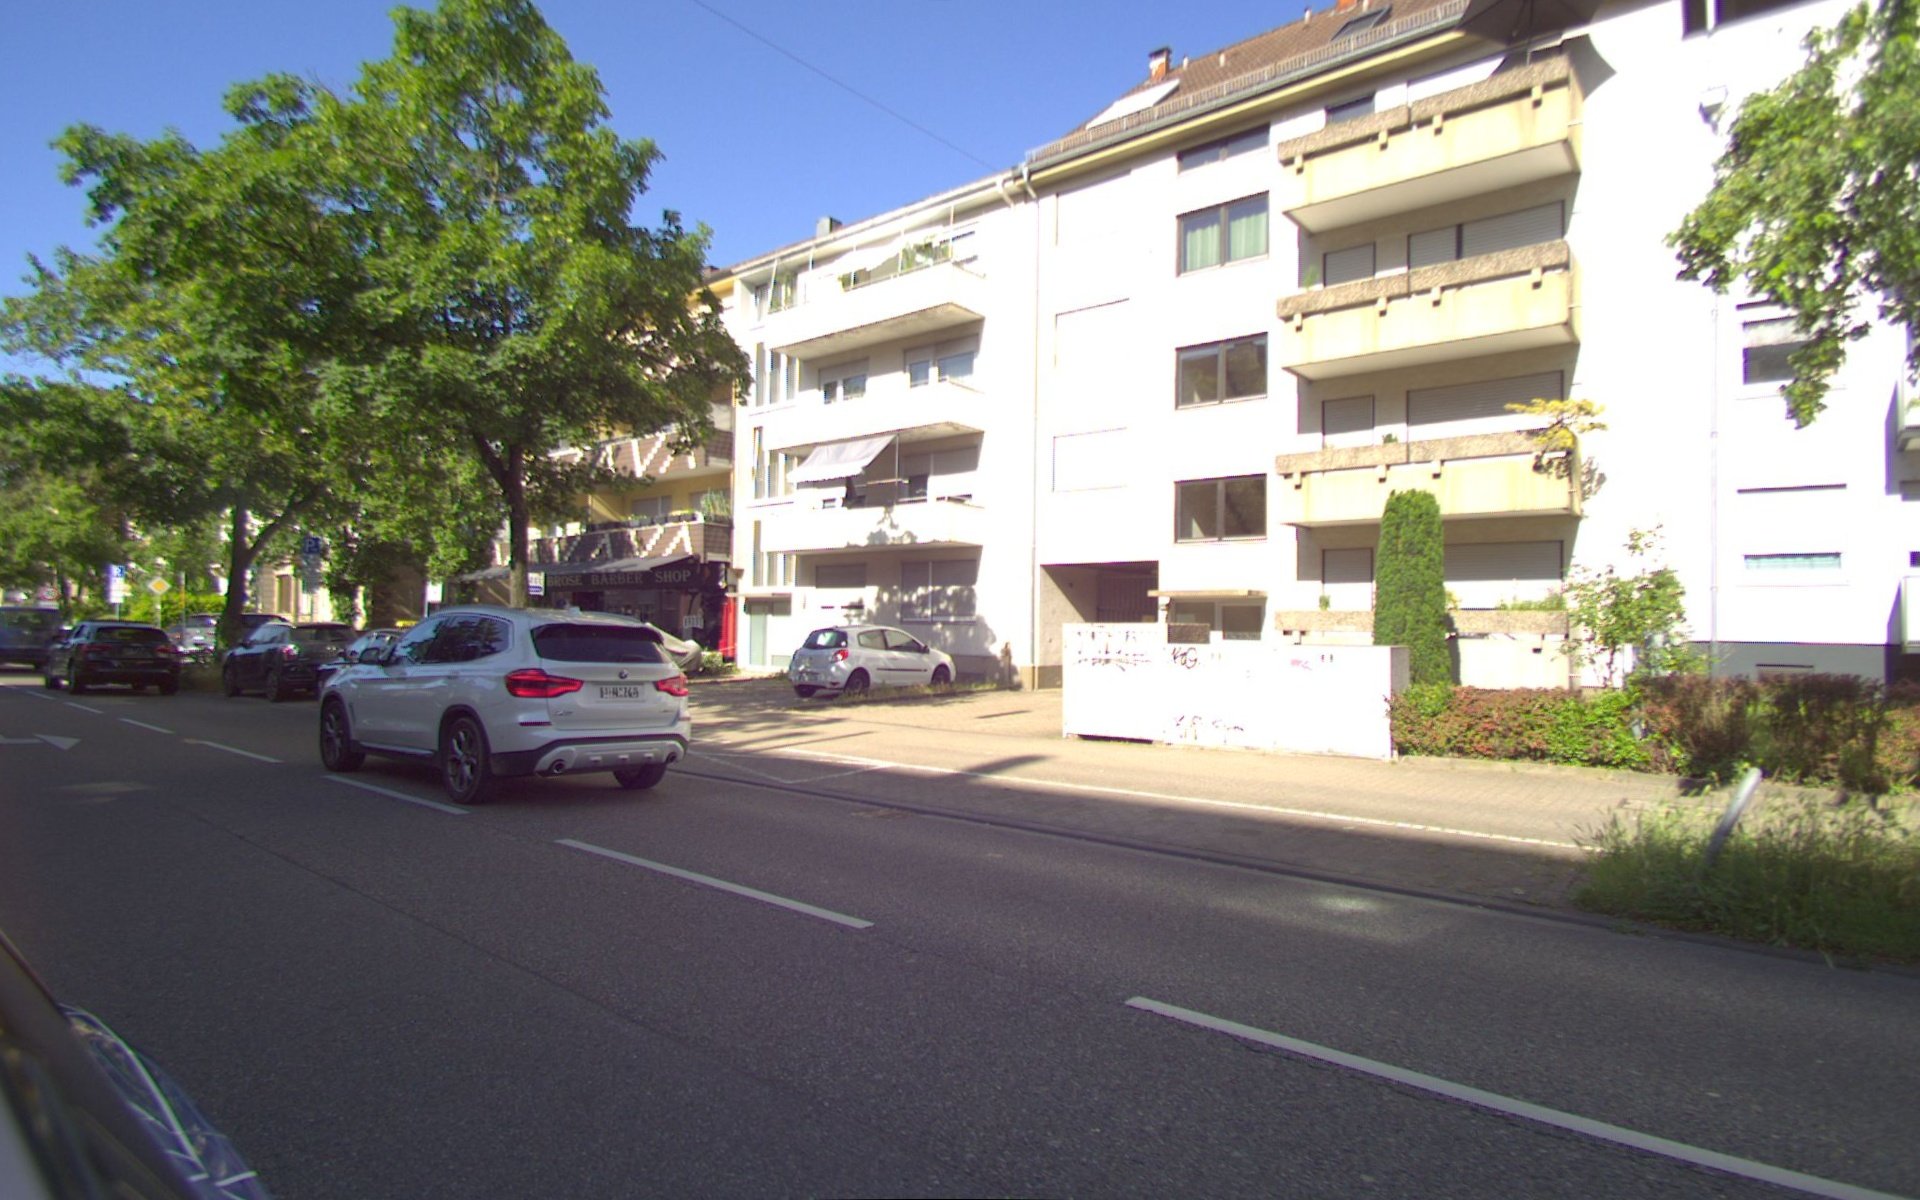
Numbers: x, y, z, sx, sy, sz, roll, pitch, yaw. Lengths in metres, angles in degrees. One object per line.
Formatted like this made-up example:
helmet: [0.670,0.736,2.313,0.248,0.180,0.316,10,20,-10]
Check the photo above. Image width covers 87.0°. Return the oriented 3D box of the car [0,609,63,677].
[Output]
car: [-28.996,1.294,30.773,4.708,1.925,1.785,-1,-5,40]

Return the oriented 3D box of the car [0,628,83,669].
car: [-34.160,1.740,37.455,4.798,1.400,1.815,-1,-2,40]

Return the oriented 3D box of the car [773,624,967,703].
car: [-1.817,1.268,21.429,1.879,1.498,3.947,-2,-2,39]

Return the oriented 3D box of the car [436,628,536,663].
car: [-21.703,2.076,46.431,1.645,1.499,3.744,1,-2,40]

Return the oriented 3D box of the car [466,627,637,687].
car: [-10.981,1.480,27.332,3.938,1.472,1.735,1,-2,-41]

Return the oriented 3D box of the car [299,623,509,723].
car: [-9.942,1.188,17.943,4.676,1.547,1.704,-1,-1,40]

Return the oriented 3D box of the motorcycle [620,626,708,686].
motorcycle: [-7.827,1.453,26.814,2.124,1.497,0.782,1,-2,-42]

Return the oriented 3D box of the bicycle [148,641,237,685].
bicycle: [-21.248,1.735,28.059,1.903,1.144,0.464,0,-2,-22]

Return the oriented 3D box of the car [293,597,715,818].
car: [-4.574,0.910,9.815,4.668,1.660,1.788,-1,-5,39]

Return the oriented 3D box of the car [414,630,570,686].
car: [-13.580,1.641,29.406,3.932,1.467,1.738,0,-2,-32]

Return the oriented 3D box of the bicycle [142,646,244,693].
bicycle: [-19.352,1.741,25.581,1.994,1.100,0.464,0,-2,-27]

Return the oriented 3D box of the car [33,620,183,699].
car: [-18.788,1.285,22.257,4.339,1.578,1.701,-1,-5,40]

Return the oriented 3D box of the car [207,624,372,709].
car: [-14.291,1.334,21.500,4.130,1.608,1.706,-1,-1,38]

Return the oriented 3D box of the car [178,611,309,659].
car: [-30.215,1.468,42.820,1.863,1.893,4.305,-1,-2,17]

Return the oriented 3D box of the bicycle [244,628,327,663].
bicycle: [-27.010,1.792,40.616,0.940,1.271,3.169,2,-1,6]
